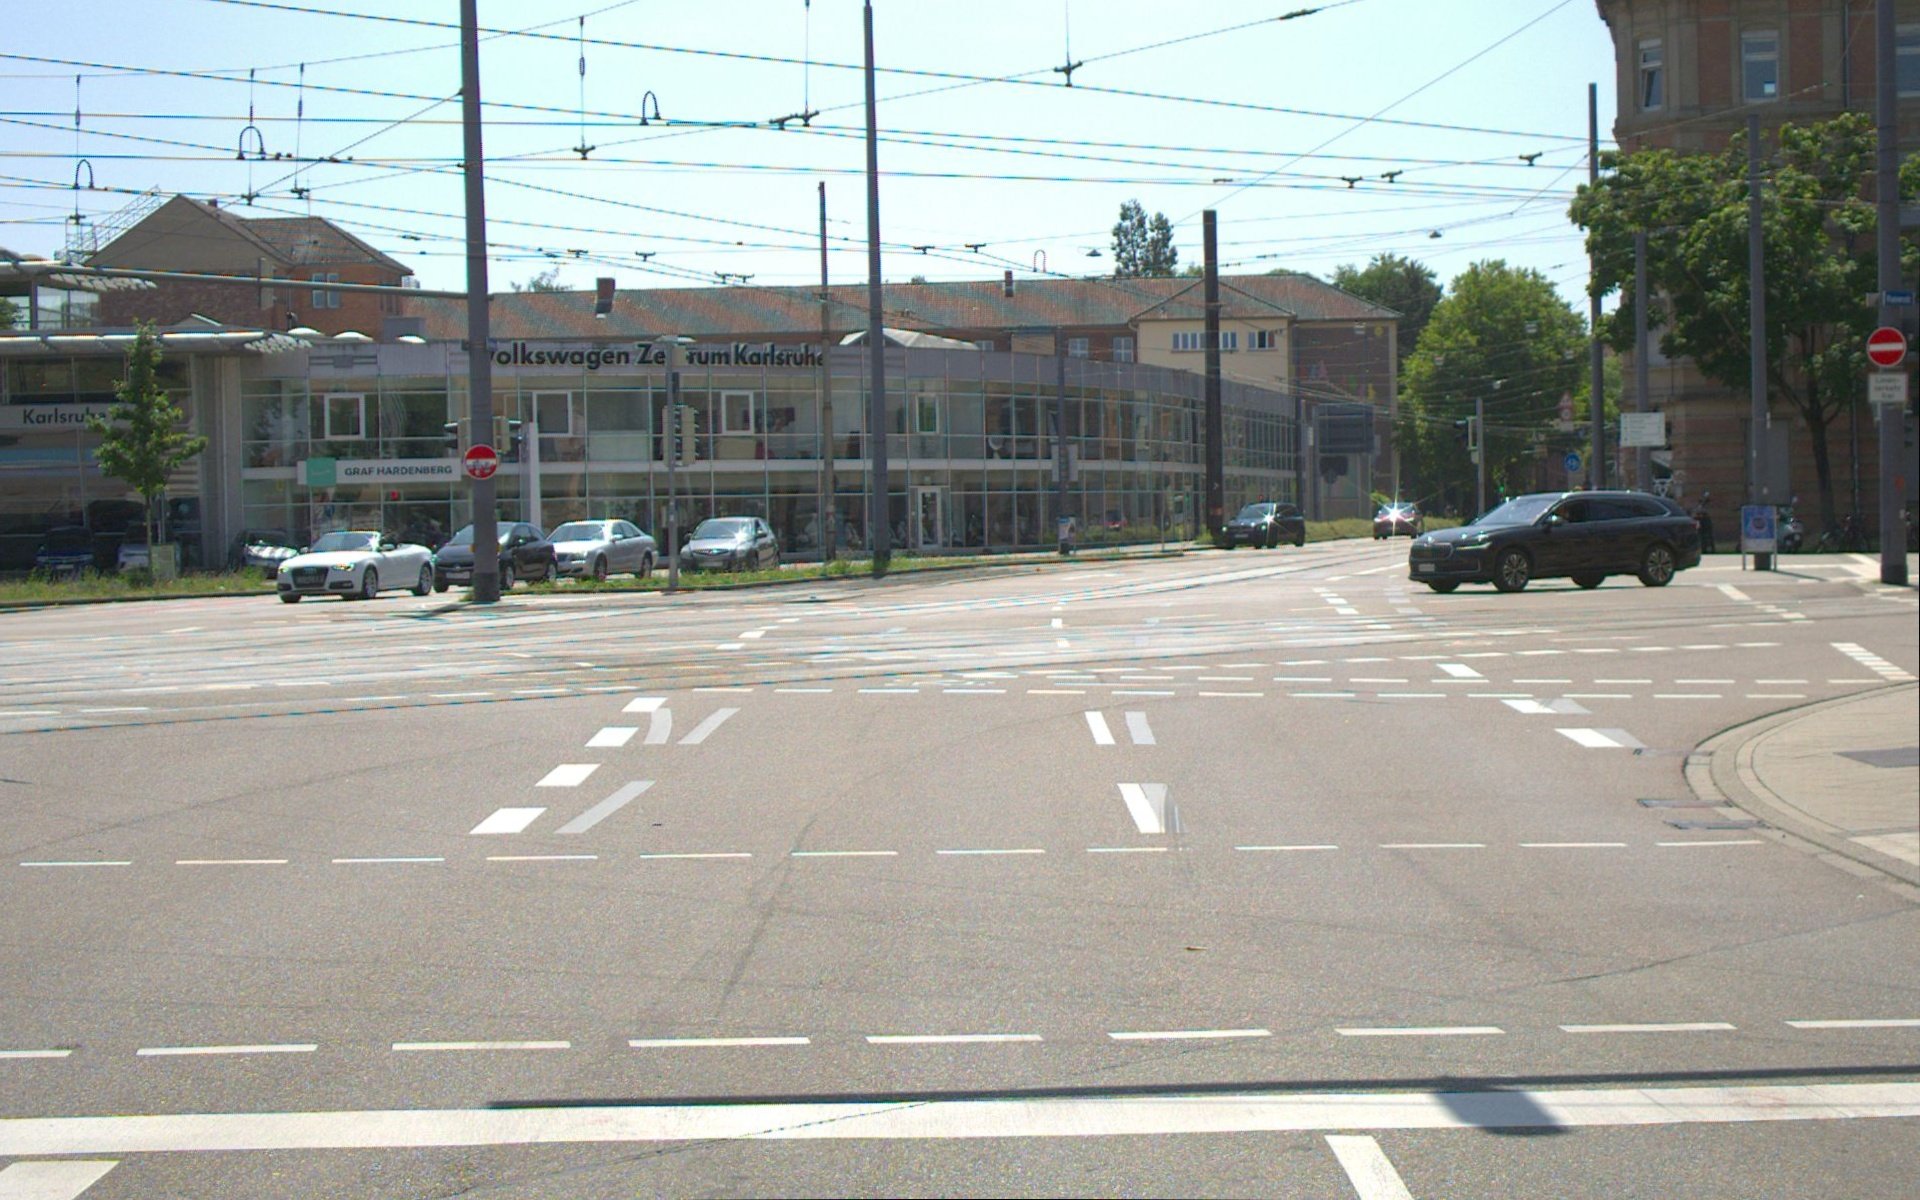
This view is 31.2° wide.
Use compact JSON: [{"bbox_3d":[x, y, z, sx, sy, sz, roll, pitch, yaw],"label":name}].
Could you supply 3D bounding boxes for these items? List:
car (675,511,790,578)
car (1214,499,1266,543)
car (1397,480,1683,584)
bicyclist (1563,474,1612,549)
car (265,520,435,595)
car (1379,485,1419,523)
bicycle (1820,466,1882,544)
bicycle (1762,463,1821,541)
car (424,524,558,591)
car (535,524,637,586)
[{"bbox_3d":[-5.351,-1.320,81.225,1.572,1.422,3.611,1,3,16],"label":"car"},{"bbox_3d":[10.164,-2.872,124.562,1.531,1.454,3.551,0,3,11],"label":"car"},{"bbox_3d":[8.820,-1.055,52.237,4.101,1.446,1.698,-2,4,-28],"label":"car"},{"bbox_3d":[12.699,-1.794,69.591,0.731,1.474,0.656,-1,3,-19],"label":"bicyclist"},{"bbox_3d":[-11.951,-0.861,67.626,1.621,1.385,4.121,-1,1,16],"label":"car"},{"bbox_3d":[18.758,-4.113,146.895,1.586,1.523,3.715,0,3,9],"label":"car"},{"bbox_3d":[21.636,-2.325,83.536,0.612,1.782,3.182,0,3,-1],"label":"bicycle"},{"bbox_3d":[20.201,-2.401,83.603,0.612,1.782,3.182,0,3,-1],"label":"bicycle"},{"bbox_3d":[-10.050,-0.932,73.828,1.539,1.273,3.537,1,3,16],"label":"car"},{"bbox_3d":[-8.646,-1.054,79.661,1.432,1.281,3.260,1,3,11],"label":"car"}]
